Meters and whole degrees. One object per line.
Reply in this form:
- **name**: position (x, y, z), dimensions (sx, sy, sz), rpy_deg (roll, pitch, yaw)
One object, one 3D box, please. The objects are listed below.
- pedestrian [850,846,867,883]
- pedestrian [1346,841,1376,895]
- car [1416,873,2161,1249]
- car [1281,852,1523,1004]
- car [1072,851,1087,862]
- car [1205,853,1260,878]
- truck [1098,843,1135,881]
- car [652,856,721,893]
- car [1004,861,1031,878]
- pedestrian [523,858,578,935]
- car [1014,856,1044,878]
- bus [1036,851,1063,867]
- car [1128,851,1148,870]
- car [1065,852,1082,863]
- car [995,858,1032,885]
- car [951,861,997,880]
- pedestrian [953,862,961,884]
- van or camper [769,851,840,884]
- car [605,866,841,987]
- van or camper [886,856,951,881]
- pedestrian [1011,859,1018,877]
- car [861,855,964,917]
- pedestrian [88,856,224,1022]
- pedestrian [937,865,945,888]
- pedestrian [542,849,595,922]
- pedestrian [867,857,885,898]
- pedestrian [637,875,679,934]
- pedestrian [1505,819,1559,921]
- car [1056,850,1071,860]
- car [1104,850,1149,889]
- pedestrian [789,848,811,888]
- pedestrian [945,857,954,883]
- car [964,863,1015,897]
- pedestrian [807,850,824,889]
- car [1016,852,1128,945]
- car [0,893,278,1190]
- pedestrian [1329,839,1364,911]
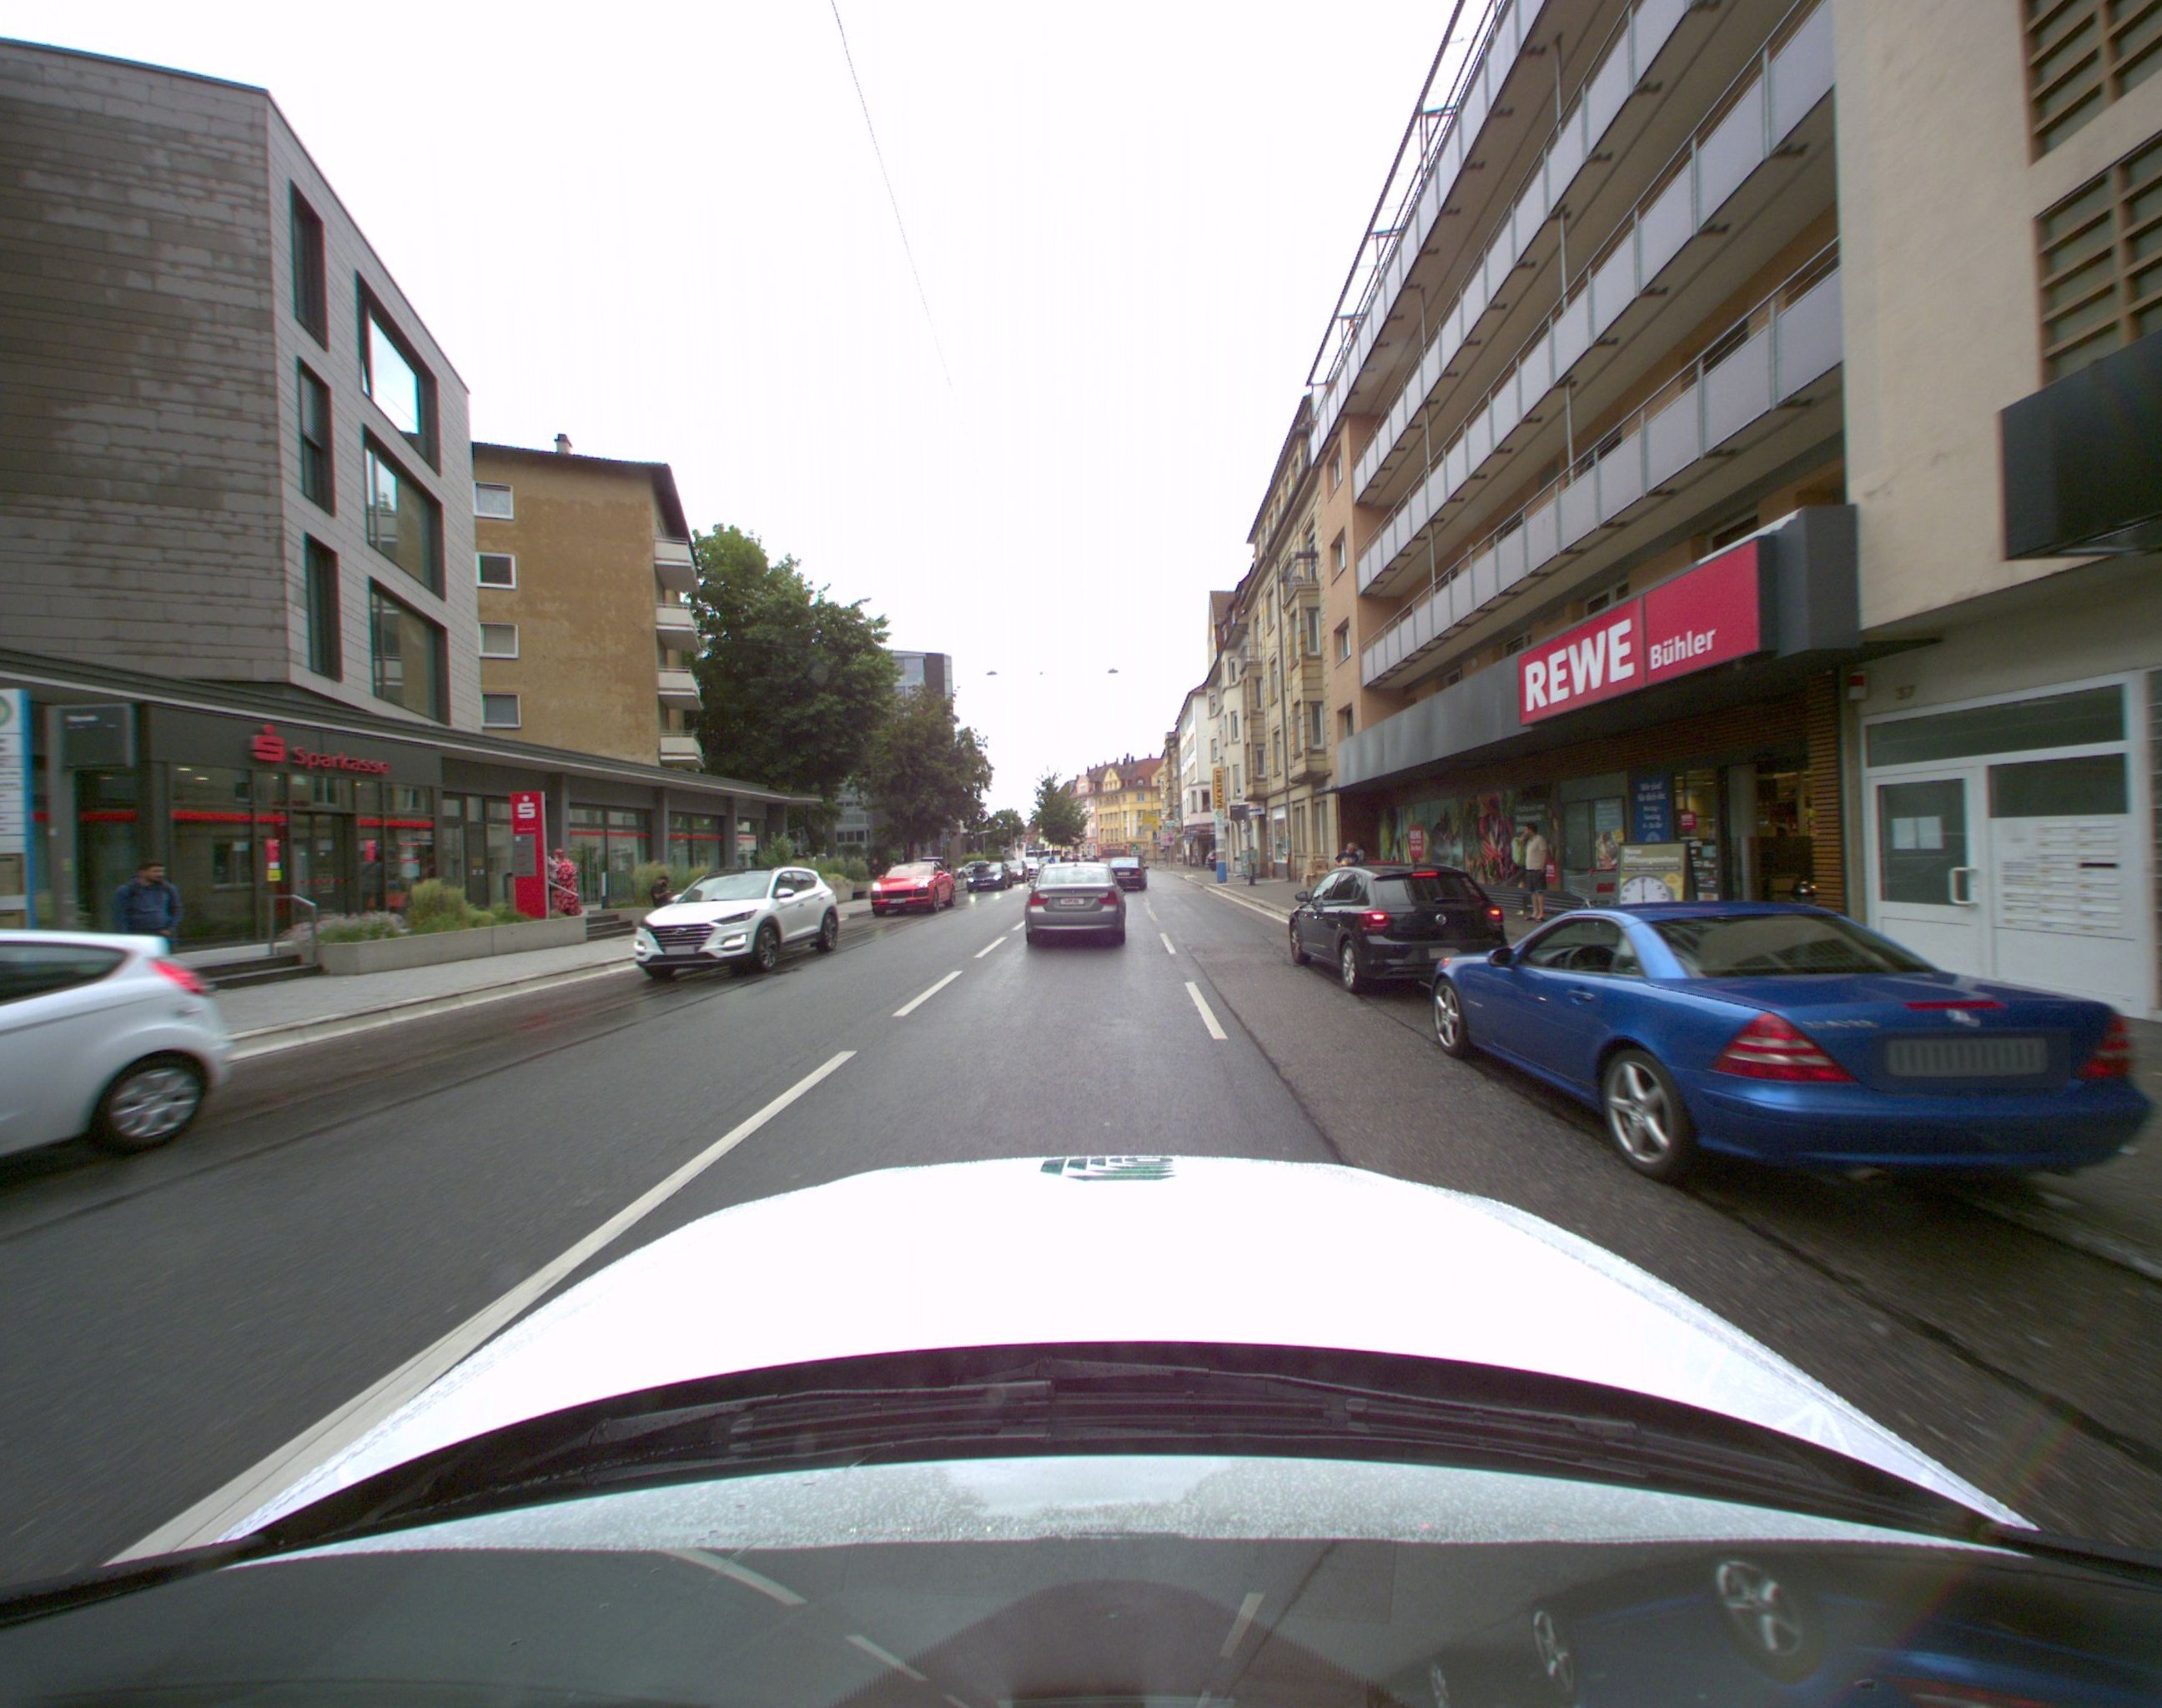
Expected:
- **pedestrian**: position (-11.042, 0.501, 40.477), dimensions (0.723, 1.826, 0.849), rpy_deg (-1, 0, -20)
- **pedestrian**: position (8.429, 0.409, 24.497), dimensions (0.562, 1.573, 0.624), rpy_deg (-1, 0, -14)
- **car**: position (3.575, 0.829, 4.945), dimensions (1.727, 1.310, 3.771), rpy_deg (-1, 0, 4)
- **car**: position (3.849, 0.770, 10.529), dimensions (1.723, 1.547, 3.984), rpy_deg (1, 0, 3)
- **car**: position (-0.406, 0.509, 171.105), dimensions (1.769, 2.180, 3.969), rpy_deg (1, -1, -23)
- **car**: position (11.751, 0.871, 63.141), dimensions (4.113, 1.772, 1.878), rpy_deg (-1, 0, 9)
- **truck**: position (2.255, 0.499, 51.759), dimensions (2.216, 2.249, 5.065), rpy_deg (-1, 0, 2)
- **car**: position (-26.496, 1.325, 54.787), dimensions (4.008, 2.255, 1.983), rpy_deg (-2, 0, -26)
- **car**: position (-5.976, 1.441, 76.903), dimensions (2.006, 1.425, 4.502), rpy_deg (-1, 0, 2)
- **pedestrian**: position (-11.816, 0.930, 18.161), dimensions (0.711, 1.678, 0.714), rpy_deg (-2, 0, 2)
- **car**: position (-3.951, 0.973, 62.464), dimensions (1.813, 1.569, 4.090), rpy_deg (-3, 0, 1)
- **bus**: position (-6.671, 1.049, 170.794), dimensions (2.920, 3.105, 9.077), rpy_deg (-2, 0, -21)
- **car**: position (6.427, 0.723, 92.255), dimensions (1.986, 2.013, 4.001), rpy_deg (-2, 0, 2)
- **car**: position (-1.457, 0.613, 157.279), dimensions (1.999, 2.013, 3.975), rpy_deg (-2, 0, -19)
- **car**: position (-4.381, 1.098, 53.109), dimensions (1.948, 1.557, 4.244), rpy_deg (-2, 0, 1)
- **car**: position (-9.295, 1.398, 70.999), dimensions (3.600, 1.569, 1.724), rpy_deg (-1, 0, -31)
- **pedestrian**: position (-8.177, 1.246, 53.647), dimensions (0.431, 1.410, 0.481), rpy_deg (-1, 0, -1)
- **van or camper**: position (-20.023, 0.965, 58.976), dimensions (4.628, 2.266, 2.192), rpy_deg (0, 0, -27)
- **car**: position (-5.655, 1.051, 13.543), dimensions (1.888, 1.573, 4.127), rpy_deg (-4, -1, 2)
- **van or camper**: position (-13.674, 1.207, 68.533), dimensions (4.979, 2.014, 1.982), rpy_deg (-1, 0, -27)
- **pedestrian**: position (-6.729, 1.405, 82.280), dimensions (0.573, 1.762, 0.580), rpy_deg (-2, 0, -4)
- **car**: position (-5.417, 0.998, 27.000), dimensions (2.098, 1.764, 5.062), rpy_deg (-3, -1, 2)
- **pedestrian**: position (-10.709, 0.943, 9.463), dimensions (0.588, 1.819, 0.868), rpy_deg (-2, -1, -6)
- **pedestrian**: position (-9.248, 1.483, 53.799), dimensions (0.458, 1.473, 0.530), rpy_deg (-1, 0, -1)
- **pedestrian**: position (-12.156, 0.728, 19.326), dimensions (0.704, 1.678, 0.805), rpy_deg (-2, 0, 30)
- **pedestrian**: position (-9.328, 1.061, 37.091), dimensions (0.723, 1.826, 0.718), rpy_deg (-1, 0, -17)
- **pedestrian**: position (-10.577, 1.243, 20.382), dimensions (0.584, 1.420, 0.730), rpy_deg (-2, -1, 37)
- **pedestrian**: position (8.455, 0.294, 15.280), dimensions (0.593, 1.859, 0.728), rpy_deg (-1, -1, 5)
- **car**: position (-3.541, 0.248, 163.174), dimensions (2.000, 2.013, 3.974), rpy_deg (-2, 0, -19)
- **car**: position (1.892, 0.657, 35.208), dimensions (1.793, 1.563, 4.001), rpy_deg (-1, -1, 1)
- **pedestrian**: position (-13.044, 0.647, 37.834), dimensions (0.860, 1.844, 0.691), rpy_deg (-2, 0, -12)
- **pedestrian**: position (-8.672, 1.026, 53.630), dimensions (0.496, 1.673, 0.552), rpy_deg (-1, 0, -1)
- **car**: position (-4.813, 1.344, 43.682), dimensions (1.948, 1.512, 4.914), rpy_deg (-3, 0, 2)
- **pedestrian**: position (-12.302, 0.728, 37.736), dimensions (0.657, 1.759, 0.716), rpy_deg (-2, 0, -21)
- **car**: position (-0.091, 0.780, 15.466), dimensions (1.793, 1.464, 4.371), rpy_deg (-1, -1, 1)
- **car**: position (-6.466, 1.069, 3.731), dimensions (1.609, 1.464, 3.808), rpy_deg (-4, 0, 2)
- **pedestrian**: position (6.388, 0.489, 19.618), dimensions (0.622, 1.651, 0.750), rpy_deg (-2, 2, 4)
